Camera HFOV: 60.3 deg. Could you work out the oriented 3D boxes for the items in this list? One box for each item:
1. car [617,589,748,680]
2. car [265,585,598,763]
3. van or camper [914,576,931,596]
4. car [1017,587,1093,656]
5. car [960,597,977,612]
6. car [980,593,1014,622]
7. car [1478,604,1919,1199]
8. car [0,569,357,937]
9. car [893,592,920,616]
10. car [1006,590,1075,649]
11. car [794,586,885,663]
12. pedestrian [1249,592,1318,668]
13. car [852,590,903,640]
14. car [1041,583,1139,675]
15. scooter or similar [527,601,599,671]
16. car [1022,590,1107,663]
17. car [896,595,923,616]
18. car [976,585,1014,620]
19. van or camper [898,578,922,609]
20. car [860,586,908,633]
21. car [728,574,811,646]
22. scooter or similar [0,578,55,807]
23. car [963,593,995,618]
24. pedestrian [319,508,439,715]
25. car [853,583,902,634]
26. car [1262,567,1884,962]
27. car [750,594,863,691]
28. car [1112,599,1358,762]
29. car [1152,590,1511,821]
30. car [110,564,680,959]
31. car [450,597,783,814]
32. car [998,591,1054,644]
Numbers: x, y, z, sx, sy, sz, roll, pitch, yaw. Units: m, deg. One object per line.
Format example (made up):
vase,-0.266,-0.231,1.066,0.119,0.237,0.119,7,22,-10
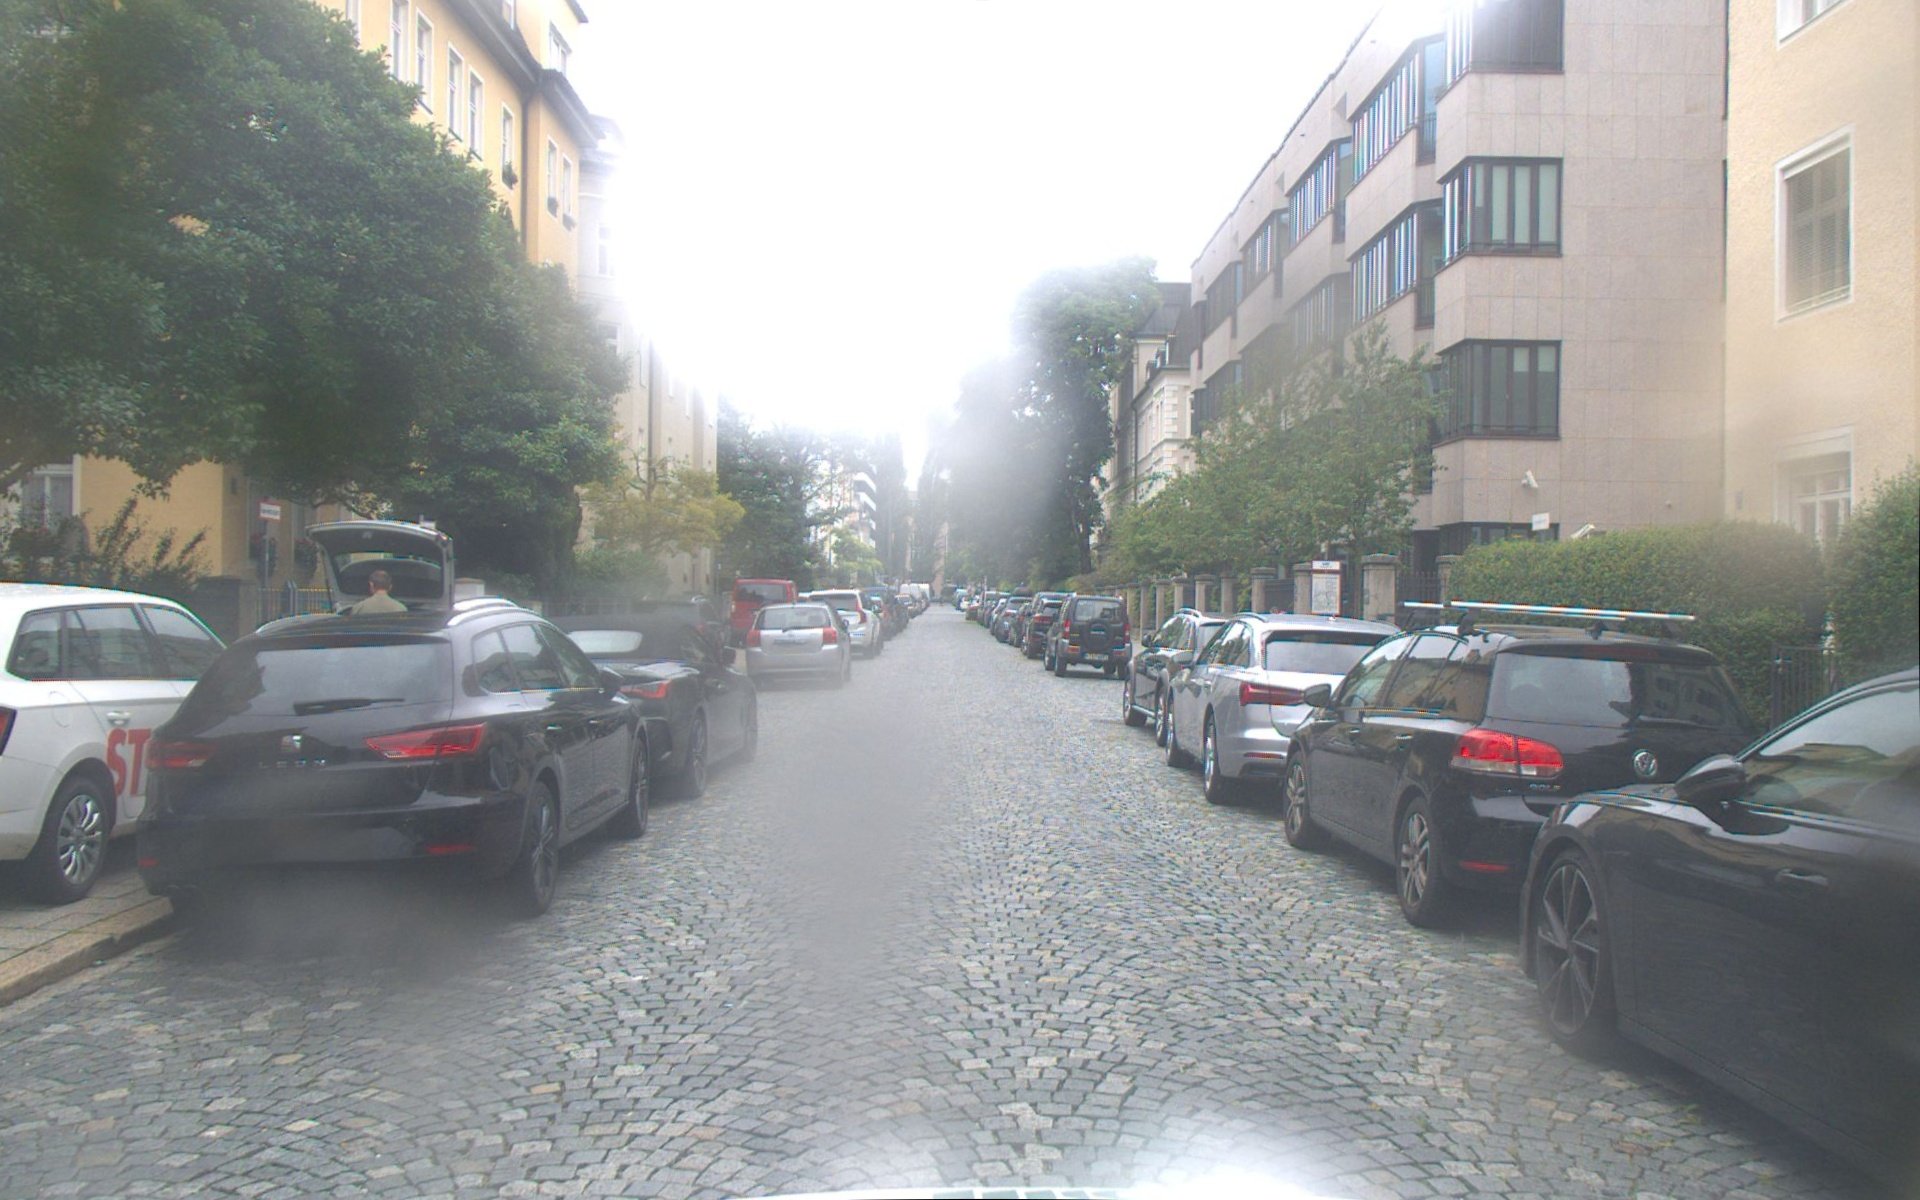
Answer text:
car,-5.165,0.600,31.378,1.680,1.523,4.720,3,0,-1
car,-4.960,0.621,16.239,1.739,1.441,4.561,2,0,0
van or camper,-5.337,-1.937,236.508,2.210,2.790,5.097,1,0,-1
car,2.802,0.613,49.694,1.753,1.827,4.507,4,0,-2
car,0.898,0.447,172.906,1.753,1.547,4.000,1,0,0
car,2.076,0.432,93.528,1.799,1.516,4.421,3,0,0
car,3.051,0.824,4.237,1.782,1.514,5.049,3,0,0
car,-4.963,0.625,9.080,1.704,1.563,4.465,2,0,-1
car,-3.891,0.251,119.287,1.836,1.607,4.253,-2,0,-3
car,2.661,0.638,55.696,1.836,1.765,4.657,4,0,-2
car,-3.077,0.604,43.320,1.965,1.840,5.174,-1,0,0
pedestrian,6.716,0.610,34.376,1.192,1.519,1.129,-2,0,1
car,-3.144,0.546,62.805,1.828,1.765,4.401,-2,0,-3
car,2.757,0.588,35.773,1.586,1.781,3.886,3,0,-2
scooter or similar,-7.471,0.664,31.165,0.937,1.221,1.522,3,0,-1
car,2.727,0.659,44.251,1.823,1.731,4.812,3,0,-1
car,-4.147,0.460,136.954,1.834,1.607,4.209,3,0,2
car,2.052,0.145,99.243,1.836,1.962,5.161,3,0,-3
van or camper,-4.560,-0.582,151.914,1.953,2.698,4.000,-2,0,0
car,-3.367,0.418,74.337,1.953,1.950,5.176,-3,0,-2
car,-5.558,0.271,48.853,1.954,1.965,5.329,2,0,-2
scooter or similar,-6.996,0.625,10.524,1.040,1.550,2.634,0,0,-1
car,1.244,0.362,111.217,1.836,1.529,4.509,3,0,-3
pedestrian,-4.828,0.093,13.779,0.750,1.679,0.582,1,0,0
car,-3.366,0.343,67.937,1.835,1.950,4.826,-2,0,-2
car,3.101,0.728,9.442,1.855,1.682,4.293,2,0,-1
car,-2.705,0.709,29.957,1.679,1.589,4.389,-1,0,-1
car,3.074,0.828,19.602,1.953,1.579,5.013,3,0,-1
car,2.961,0.753,14.376,1.953,1.579,4.986,2,0,0
car,-2.762,0.677,9.236,1.704,1.631,4.536,-1,0,-1
car,-2.708,0.750,14.230,1.777,1.480,4.912,-2,0,0
car,2.380,0.612,60.782,1.835,1.765,4.892,3,0,1
